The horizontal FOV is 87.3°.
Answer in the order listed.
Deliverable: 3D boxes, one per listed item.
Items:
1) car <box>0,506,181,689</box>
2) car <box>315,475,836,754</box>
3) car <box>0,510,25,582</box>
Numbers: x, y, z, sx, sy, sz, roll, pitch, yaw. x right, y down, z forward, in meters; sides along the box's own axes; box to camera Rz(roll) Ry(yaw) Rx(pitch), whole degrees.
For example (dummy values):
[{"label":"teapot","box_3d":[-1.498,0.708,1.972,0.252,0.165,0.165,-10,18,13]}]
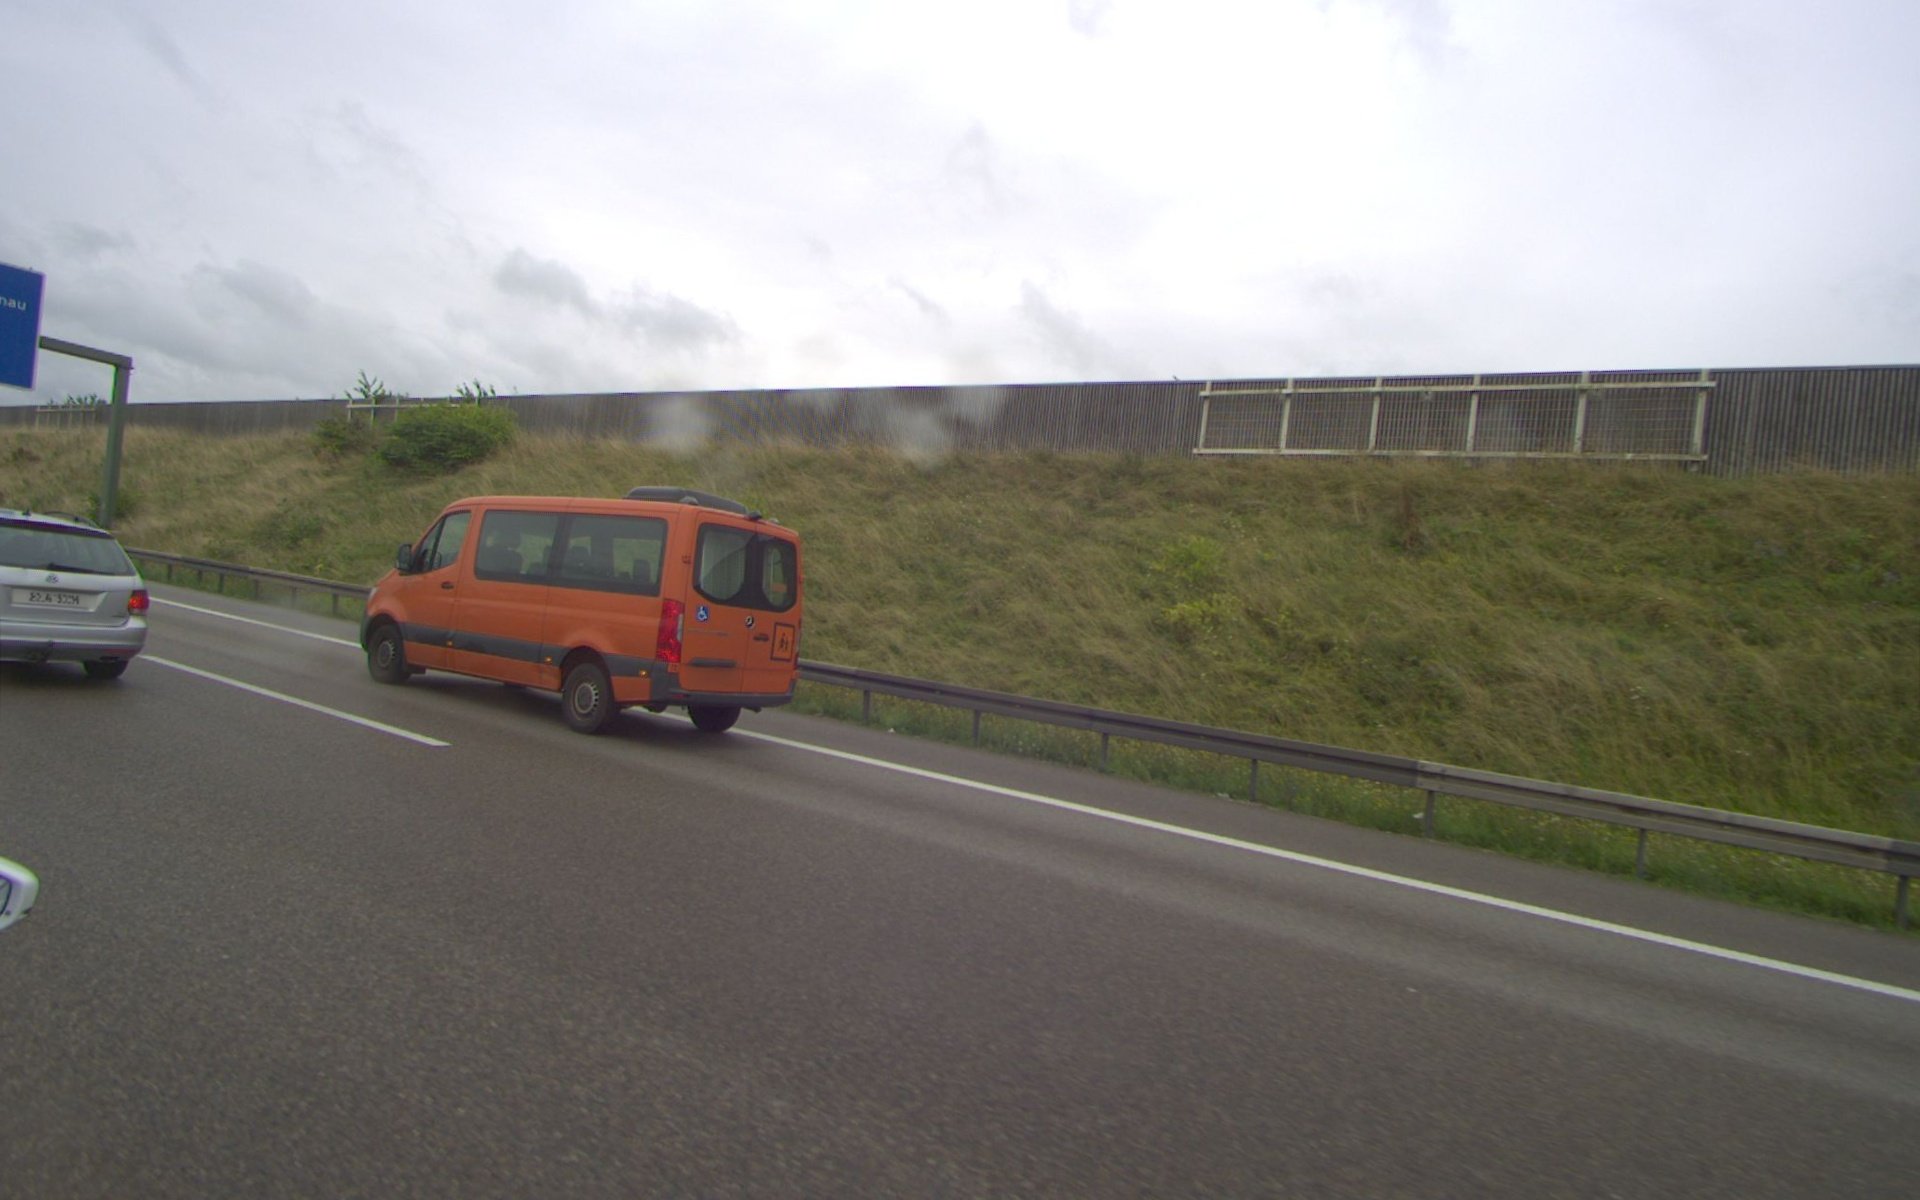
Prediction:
[{"label":"car","box_3d":[-9.366,-0.194,9.427,4.442,1.442,1.744,6,0,32]},{"label":"car","box_3d":[-4.606,0.023,11.603,6.077,2.343,2.089,7,-1,30]},{"label":"car","box_3d":[-21.225,-1.318,20.810,3.811,1.417,1.706,6,-2,32]}]
